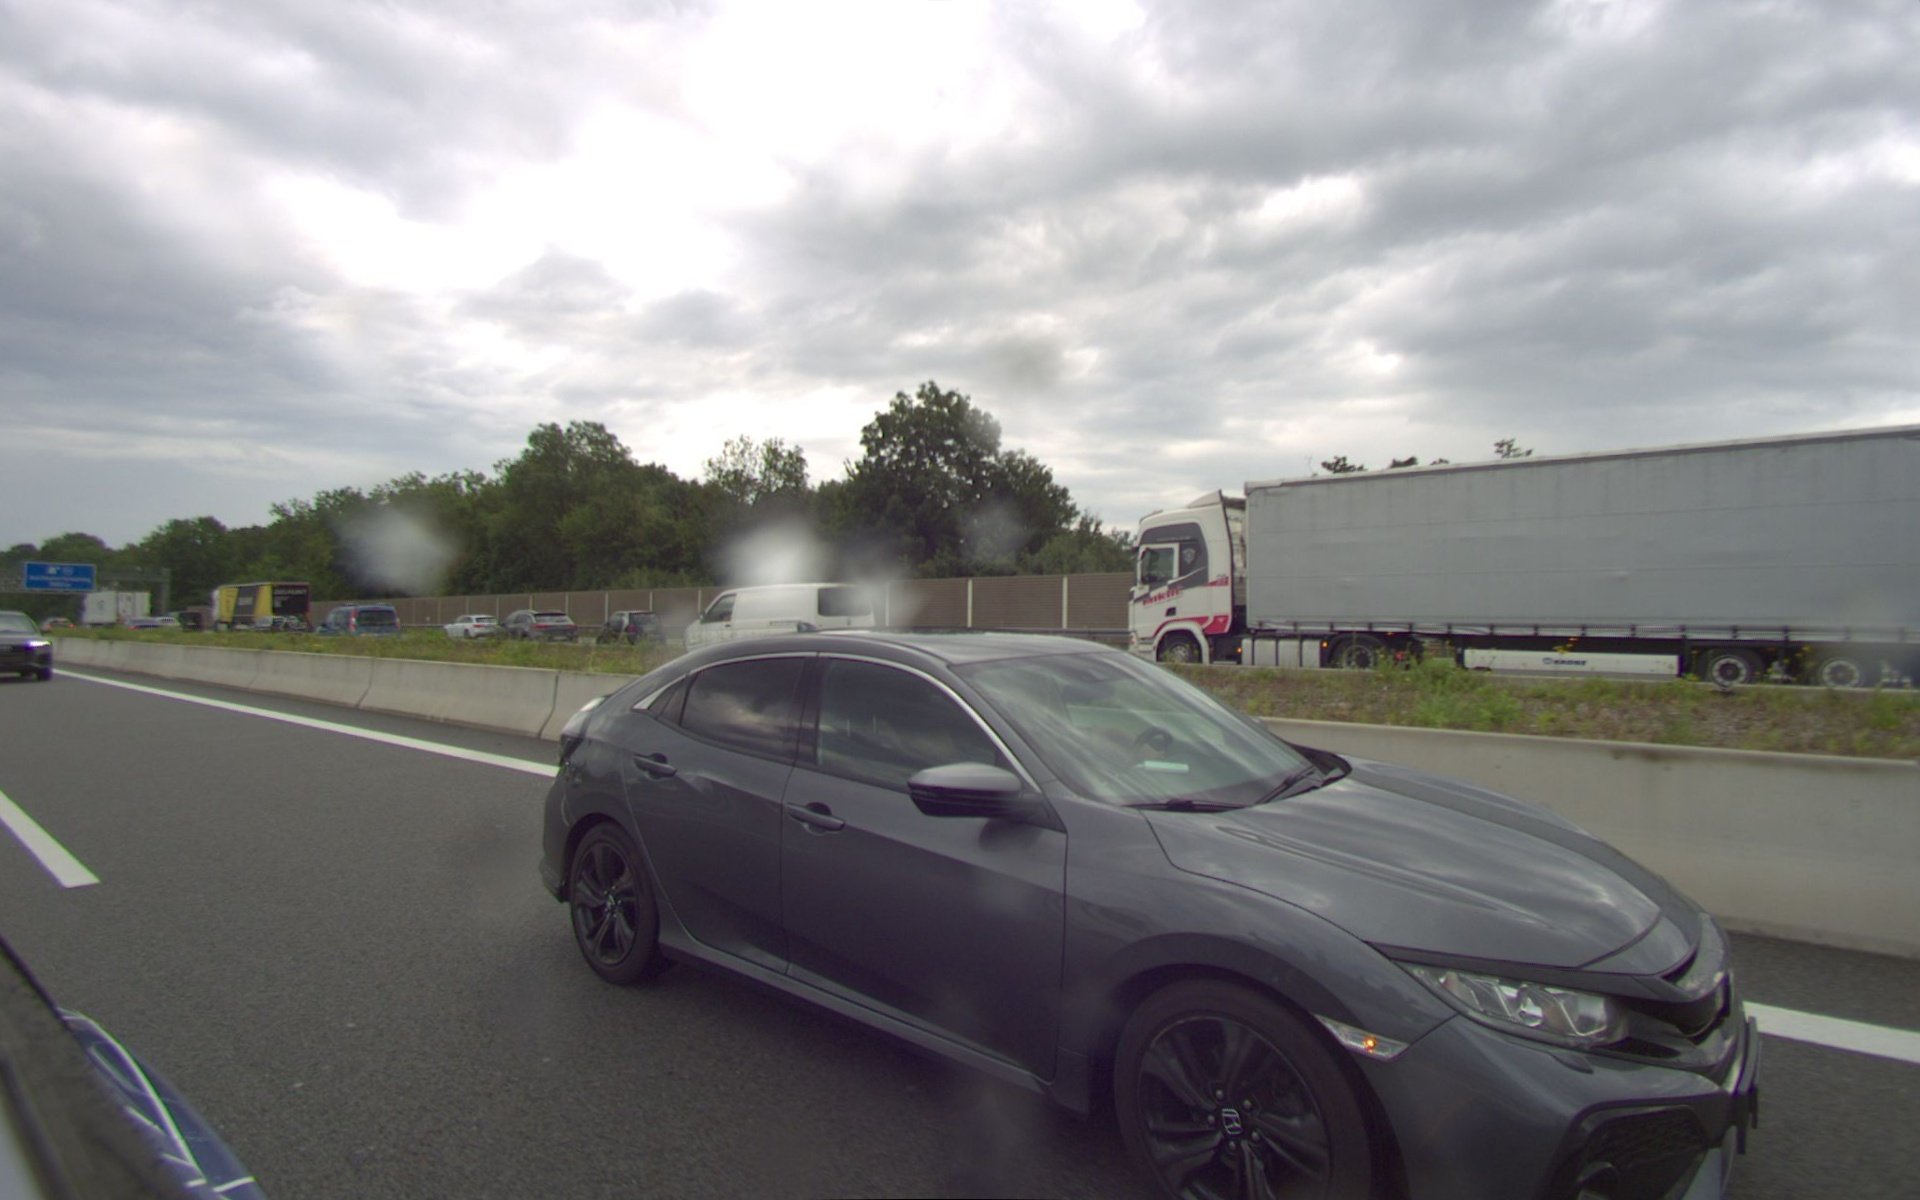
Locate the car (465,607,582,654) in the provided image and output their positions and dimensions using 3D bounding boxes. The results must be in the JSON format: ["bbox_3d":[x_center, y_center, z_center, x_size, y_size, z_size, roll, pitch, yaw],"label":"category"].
[{"bbox_3d":[-15.626,1.057,36.081,5.157,1.548,1.747,-1,0,41],"label":"car"}]

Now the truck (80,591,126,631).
[{"bbox_3d":[-86.251,1.137,101.834,6.001,3.915,2.697,-1,0,41],"label":"truck"}]

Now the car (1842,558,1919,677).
[{"bbox_3d":[17.786,0.281,17.341,3.999,2.029,1.981,-1,0,42],"label":"car"}]

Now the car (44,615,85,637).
[{"bbox_3d":[-67.581,1.945,76.352,4.580,1.548,1.747,-1,0,41],"label":"car"}]

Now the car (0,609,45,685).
[{"bbox_3d":[-23.814,1.098,24.633,5.169,1.704,1.887,-1,-1,43],"label":"car"}]

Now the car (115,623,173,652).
[{"bbox_3d":[-48.190,2.192,59.698,5.157,1.548,1.747,-1,0,41],"label":"car"}]

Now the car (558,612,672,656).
[{"bbox_3d":[-13.260,1.269,38.708,5.157,1.548,1.747,-1,0,41],"label":"car"}]

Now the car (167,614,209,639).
[{"bbox_3d":[-64.168,2.183,84.048,5.036,1.909,1.747,-1,0,41],"label":"car"}]

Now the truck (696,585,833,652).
[{"bbox_3d":[-7.702,0.706,39.476,5.793,2.435,2.094,-1,0,41],"label":"truck"}]

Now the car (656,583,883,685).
[{"bbox_3d":[-4.125,0.651,21.384,5.157,1.914,1.903,-1,0,41],"label":"car"}]

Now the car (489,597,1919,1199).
[{"bbox_3d":[0.398,0.718,3.485,5.056,1.379,1.742,-1,-1,41],"label":"car"}]

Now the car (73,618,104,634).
[{"bbox_3d":[-86.670,2.579,100.604,3.997,1.548,1.740,-1,0,40],"label":"car"}]

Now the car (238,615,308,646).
[{"bbox_3d":[-37.422,1.646,55.065,5.710,1.560,1.747,-1,0,41],"label":"car"}]

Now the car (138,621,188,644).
[{"bbox_3d":[-56.230,2.273,71.377,5.237,1.548,1.747,-1,0,41],"label":"car"}]

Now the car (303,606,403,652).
[{"bbox_3d":[-21.856,1.004,36.390,4.480,1.548,1.747,-1,0,40],"label":"car"}]

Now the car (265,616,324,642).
[{"bbox_3d":[-42.180,1.829,64.065,5.157,1.548,1.747,-1,0,41],"label":"car"}]

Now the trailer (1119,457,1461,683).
[{"bbox_3d":[6.872,-0.528,21.460,6.075,4.074,3.285,-1,0,41],"label":"trailer"}]

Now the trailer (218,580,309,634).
[{"bbox_3d":[-55.847,0.587,80.919,14.045,3.993,2.650,-1,0,41],"label":"trailer"}]

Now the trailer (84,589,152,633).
[{"bbox_3d":[-81.263,1.077,97.542,14.043,3.915,2.697,-1,0,41],"label":"trailer"}]

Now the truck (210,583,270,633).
[{"bbox_3d":[-60.492,0.658,85.004,6.439,3.993,2.650,-1,0,41],"label":"truck"}]

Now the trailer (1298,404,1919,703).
[{"bbox_3d":[12.637,-0.632,16.462,13.280,4.092,3.285,-1,0,41],"label":"trailer"}]

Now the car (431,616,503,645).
[{"bbox_3d":[-27.846,1.687,57.050,5.157,1.507,1.747,-1,0,41],"label":"car"}]

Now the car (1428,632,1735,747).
[{"bbox_3d":[14.218,1.921,23.424,5.794,2.210,2.094,-1,0,41],"label":"car"}]
